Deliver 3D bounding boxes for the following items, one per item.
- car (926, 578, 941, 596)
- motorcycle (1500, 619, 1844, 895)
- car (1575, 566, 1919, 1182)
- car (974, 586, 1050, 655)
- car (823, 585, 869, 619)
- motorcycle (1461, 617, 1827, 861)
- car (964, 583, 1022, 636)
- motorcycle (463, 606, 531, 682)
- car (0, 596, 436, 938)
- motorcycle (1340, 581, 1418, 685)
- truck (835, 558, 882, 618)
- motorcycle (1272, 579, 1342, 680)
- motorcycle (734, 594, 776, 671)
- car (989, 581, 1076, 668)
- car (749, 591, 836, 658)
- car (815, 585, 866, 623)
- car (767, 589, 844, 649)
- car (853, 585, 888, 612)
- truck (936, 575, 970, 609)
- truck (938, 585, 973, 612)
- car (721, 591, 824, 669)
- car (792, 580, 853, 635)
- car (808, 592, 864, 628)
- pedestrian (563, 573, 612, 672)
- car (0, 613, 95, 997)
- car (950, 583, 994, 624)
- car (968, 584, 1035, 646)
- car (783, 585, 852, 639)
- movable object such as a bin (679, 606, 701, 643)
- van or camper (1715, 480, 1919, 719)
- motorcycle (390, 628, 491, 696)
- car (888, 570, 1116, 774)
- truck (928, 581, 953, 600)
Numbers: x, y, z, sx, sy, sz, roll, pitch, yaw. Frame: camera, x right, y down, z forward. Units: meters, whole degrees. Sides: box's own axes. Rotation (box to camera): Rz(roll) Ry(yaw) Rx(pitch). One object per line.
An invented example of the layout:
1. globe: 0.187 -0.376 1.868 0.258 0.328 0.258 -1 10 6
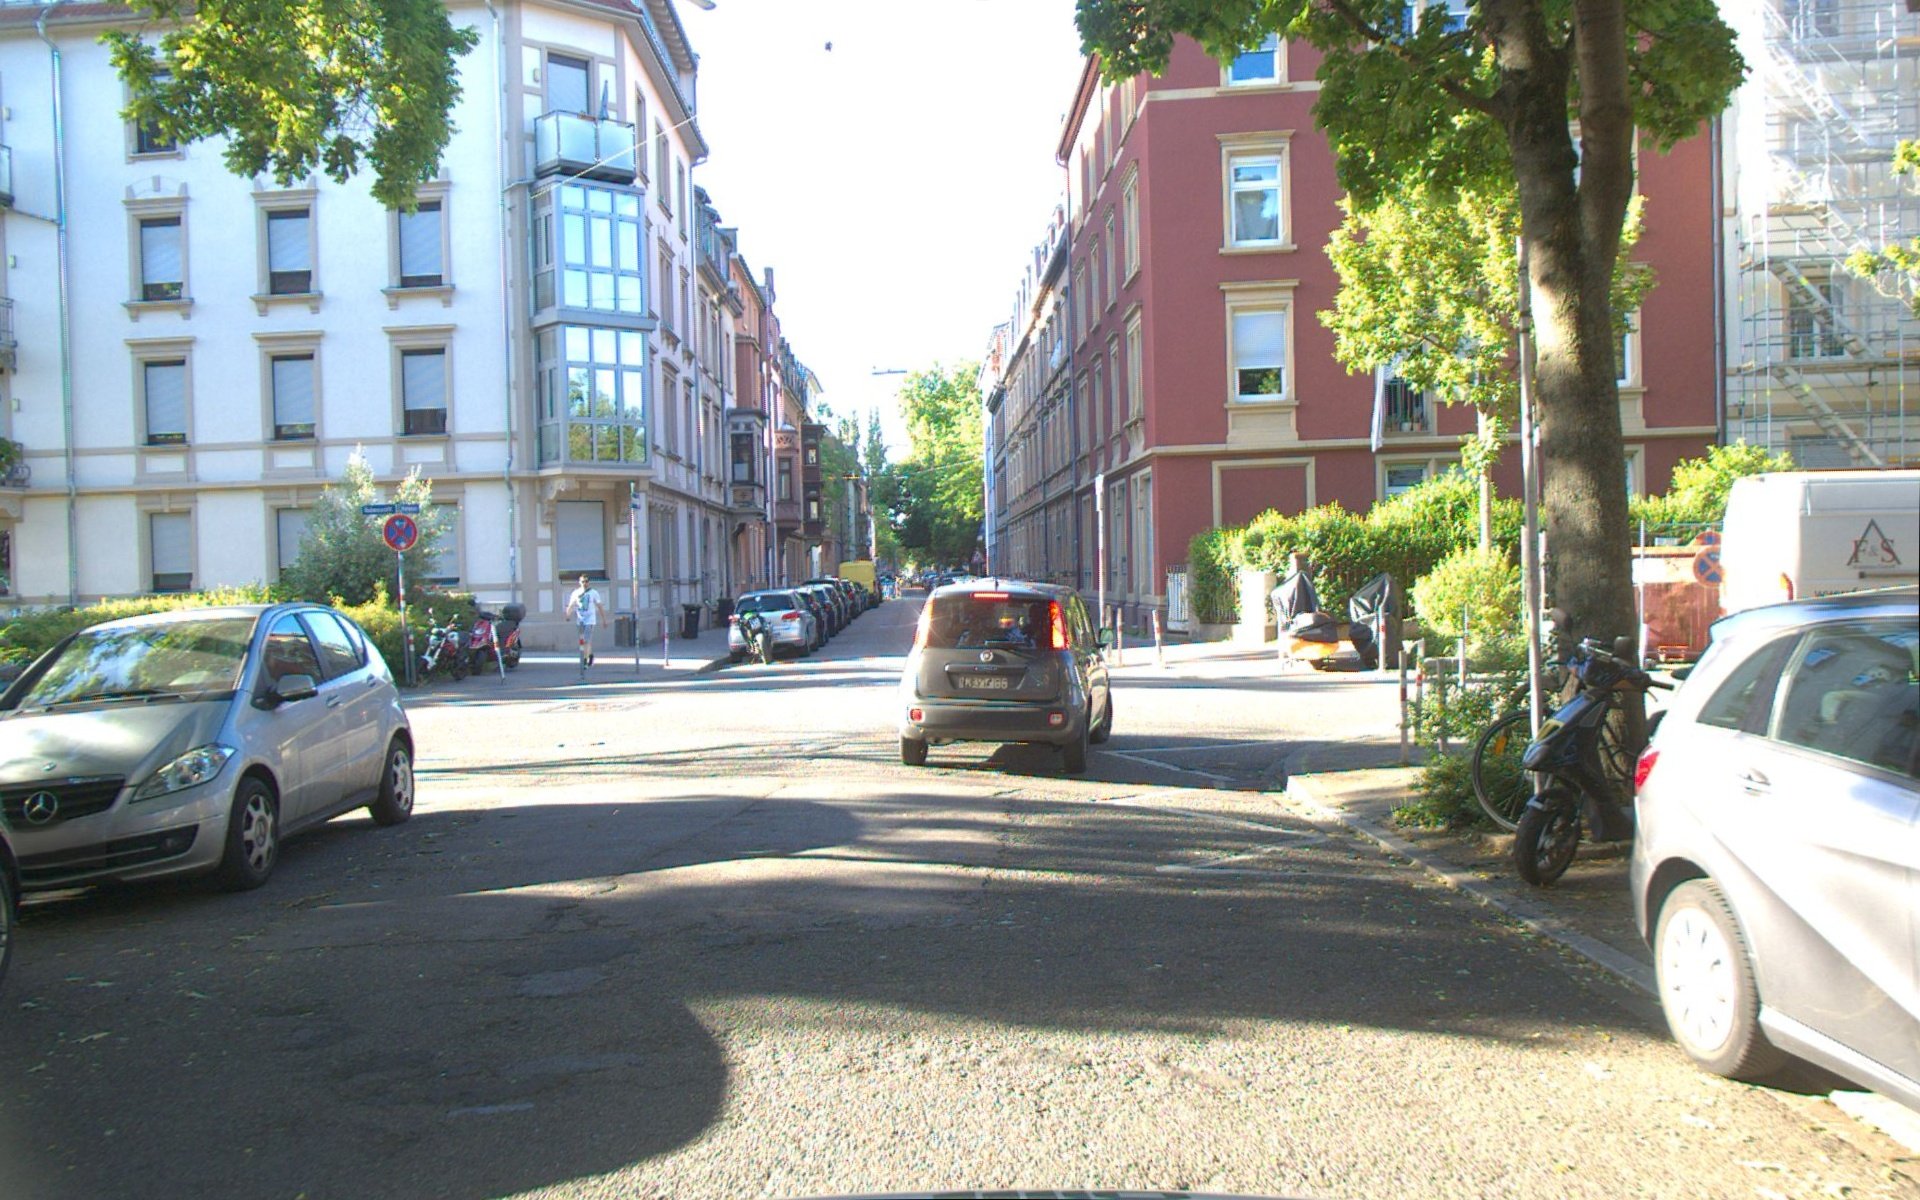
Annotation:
1. car: -2.540 -1.247 158.521 1.340 1.646 3.413 -2 1 -1
2. motorcycle: 3.657 0.785 8.557 1.472 1.288 0.619 -3 1 -2
3. car: 3.336 0.683 4.034 1.754 1.578 4.406 -1 0 -4
4. car: 1.190 0.446 39.096 1.629 1.531 3.756 0 1 -1
5. car: -5.650 0.075 82.382 1.922 1.504 3.924 -5 1 -1
6. motorcycle: 3.828 0.787 9.374 1.811 1.288 0.505 -2 0 13
7. car: 0.971 0.259 50.093 1.629 1.531 3.756 0 1 -1
8. motorcycle: -8.467 0.780 30.317 0.507 1.316 1.613 0 1 12
9. car: -4.676 0.851 10.180 1.663 1.577 3.918 -5 1 -2
10. motorcycle: 6.449 0.471 25.579 0.809 1.428 2.559 -2 2 7
11. truck: -5.448 -0.649 89.486 2.029 2.976 5.067 -5 1 -1
12. motorcycle: 5.467 0.437 26.199 0.998 1.428 2.195 -1 3 10
13. motorcycle: -4.177 0.632 33.604 0.684 1.486 1.746 -3 1 -11
14. car: 1.466 0.471 34.609 1.629 1.698 3.756 0 1 -1
15. car: -4.197 0.574 41.989 1.741 1.437 3.924 -5 1 0
16. car: -5.411 0.169 75.378 1.922 1.504 3.924 -5 1 -1
17. car: -4.466 0.529 48.199 1.788 1.492 3.924 -5 1 -1
18. car: -5.622 -0.132 104.751 1.922 1.504 3.924 -5 1 -1
19. truck: -0.466 -0.495 103.341 1.953 2.026 3.999 -2 1 -2
20. truck: -0.277 -0.113 97.966 1.953 1.482 3.999 -2 1 -2
21. car: -4.124 0.618 36.904 1.761 1.456 3.924 -5 1 -1
22. car: -4.833 0.233 58.449 1.739 1.728 3.924 -5 1 0
23. car: -5.036 0.378 67.735 1.922 1.245 3.924 -5 1 -1
24. pedestrian: -7.112 0.419 31.591 0.707 1.871 0.627 0 1 10
25. car: -4.525 0.908 5.082 1.714 1.499 4.457 -6 1 -7
26. car: 0.421 0.116 63.755 1.629 1.531 3.756 0 1 -1
27. car: 1.061 0.353 43.692 1.629 1.531 3.756 0 1 -1
28. car: -4.561 0.370 53.299 1.792 1.504 3.924 -5 1 -1
29. movable object such as a bin: -7.290 0.649 44.701 0.501 0.969 0.500 -2 0 -4
30. van or camper: 11.557 -0.103 18.249 5.468 2.487 2.147 -2 2 8
31. motorcycle: -8.756 1.030 27.956 0.675 1.002 1.822 3 2 19
32. car: 0.475 0.533 14.737 1.598 1.577 3.267 1 1 9
33. truck: -1.633 -0.822 137.505 1.953 1.482 3.999 -2 1 -2
